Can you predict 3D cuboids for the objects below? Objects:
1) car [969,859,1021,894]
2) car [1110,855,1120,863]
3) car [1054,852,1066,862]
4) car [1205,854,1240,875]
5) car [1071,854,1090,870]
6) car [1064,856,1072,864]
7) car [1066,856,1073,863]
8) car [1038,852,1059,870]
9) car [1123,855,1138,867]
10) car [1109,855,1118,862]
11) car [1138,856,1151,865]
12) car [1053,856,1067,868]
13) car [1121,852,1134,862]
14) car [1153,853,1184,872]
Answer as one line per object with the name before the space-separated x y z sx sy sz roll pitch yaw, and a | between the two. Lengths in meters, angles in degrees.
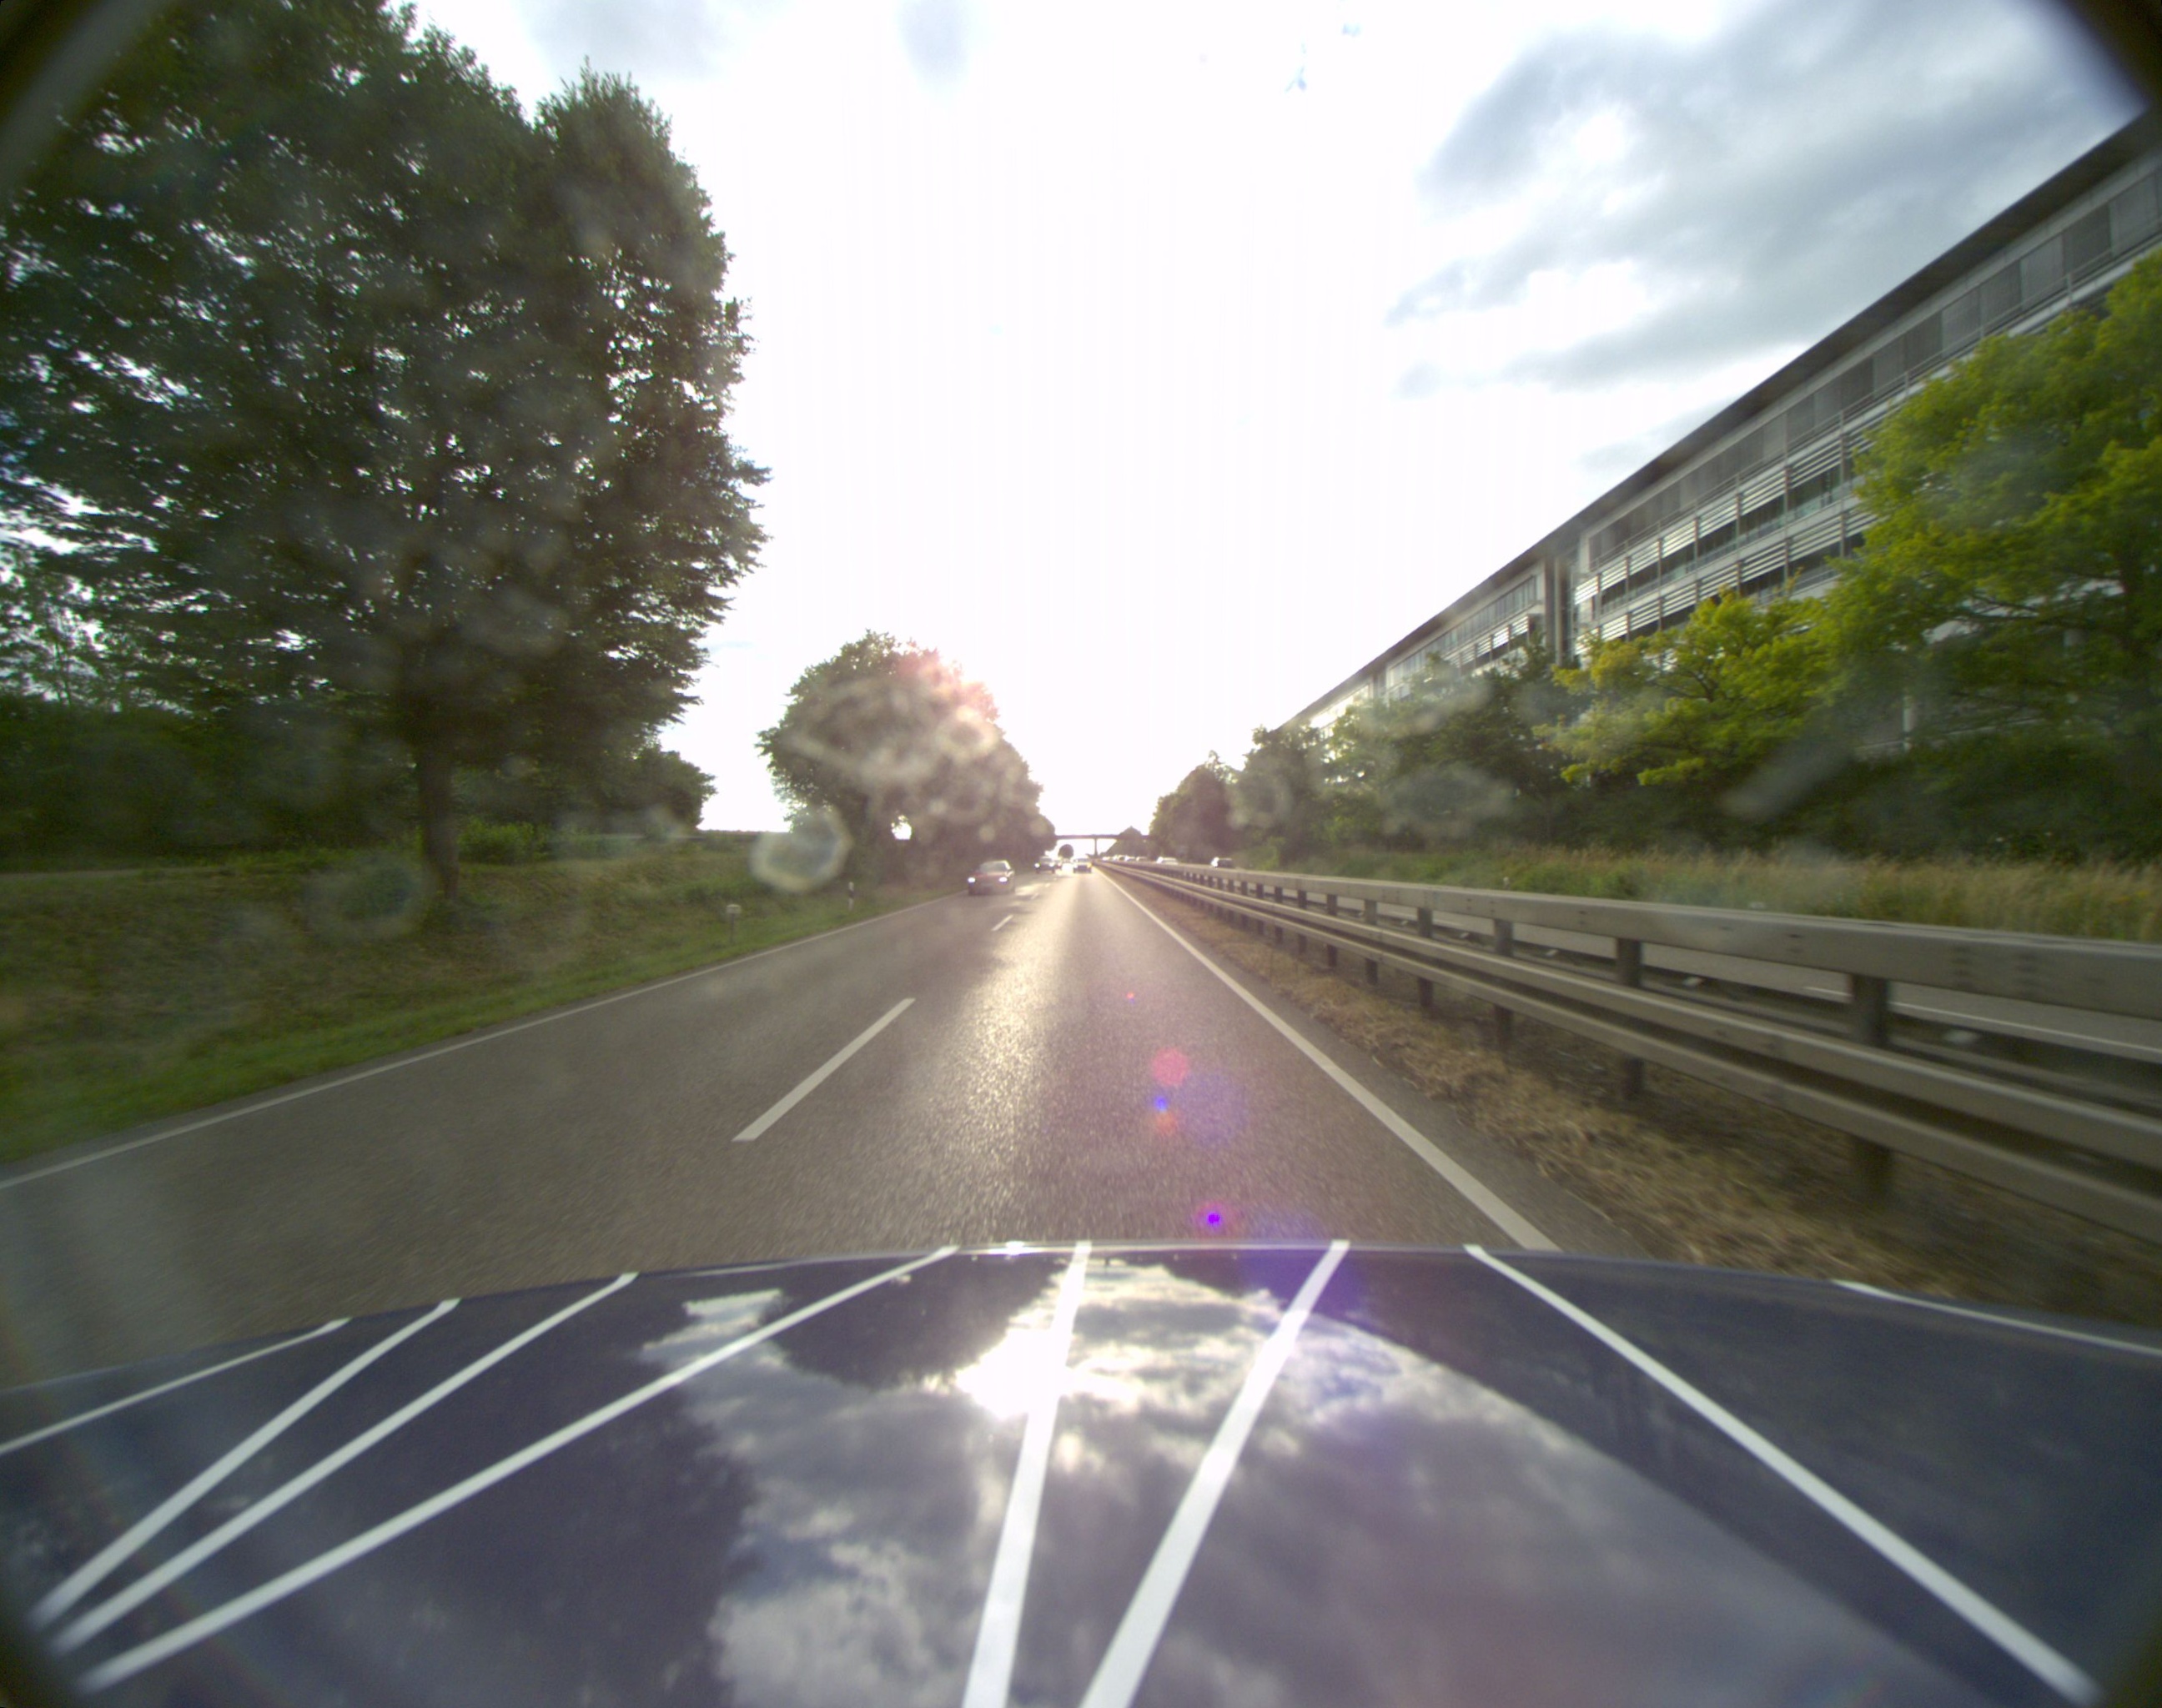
car | -3.698 0.953 33.260 1.723 1.467 3.729 -1 -1 2
car | 6.373 0.940 141.888 1.596 1.439 3.999 0 0 0
car | -3.472 0.514 124.879 1.723 1.657 4.419 -2 -1 1
car | 10.414 0.728 56.307 1.761 1.414 4.566 2 0 1
car | -0.002 0.789 74.140 1.723 1.493 4.420 -2 -1 1
car | -3.575 1.669 203.725 1.998 2.002 4.000 -2 0 0
car | -3.508 1.667 232.708 1.998 2.002 4.000 -2 0 0
car | -3.229 0.732 76.323 1.723 1.657 4.419 -2 -1 1
car | 6.666 0.944 102.549 1.747 1.449 4.311 1 0 -1
car | 7.535 1.122 174.883 1.825 1.574 4.316 -1 0 0
car | 11.170 1.109 134.038 1.821 1.476 4.417 2 0 0
car | -2.568 1.000 93.581 1.558 1.346 3.408 -1 0 1
car | 7.425 0.475 122.367 1.747 1.635 5.279 0 0 0
car | 6.678 0.619 58.519 1.839 1.370 4.566 1 0 0
